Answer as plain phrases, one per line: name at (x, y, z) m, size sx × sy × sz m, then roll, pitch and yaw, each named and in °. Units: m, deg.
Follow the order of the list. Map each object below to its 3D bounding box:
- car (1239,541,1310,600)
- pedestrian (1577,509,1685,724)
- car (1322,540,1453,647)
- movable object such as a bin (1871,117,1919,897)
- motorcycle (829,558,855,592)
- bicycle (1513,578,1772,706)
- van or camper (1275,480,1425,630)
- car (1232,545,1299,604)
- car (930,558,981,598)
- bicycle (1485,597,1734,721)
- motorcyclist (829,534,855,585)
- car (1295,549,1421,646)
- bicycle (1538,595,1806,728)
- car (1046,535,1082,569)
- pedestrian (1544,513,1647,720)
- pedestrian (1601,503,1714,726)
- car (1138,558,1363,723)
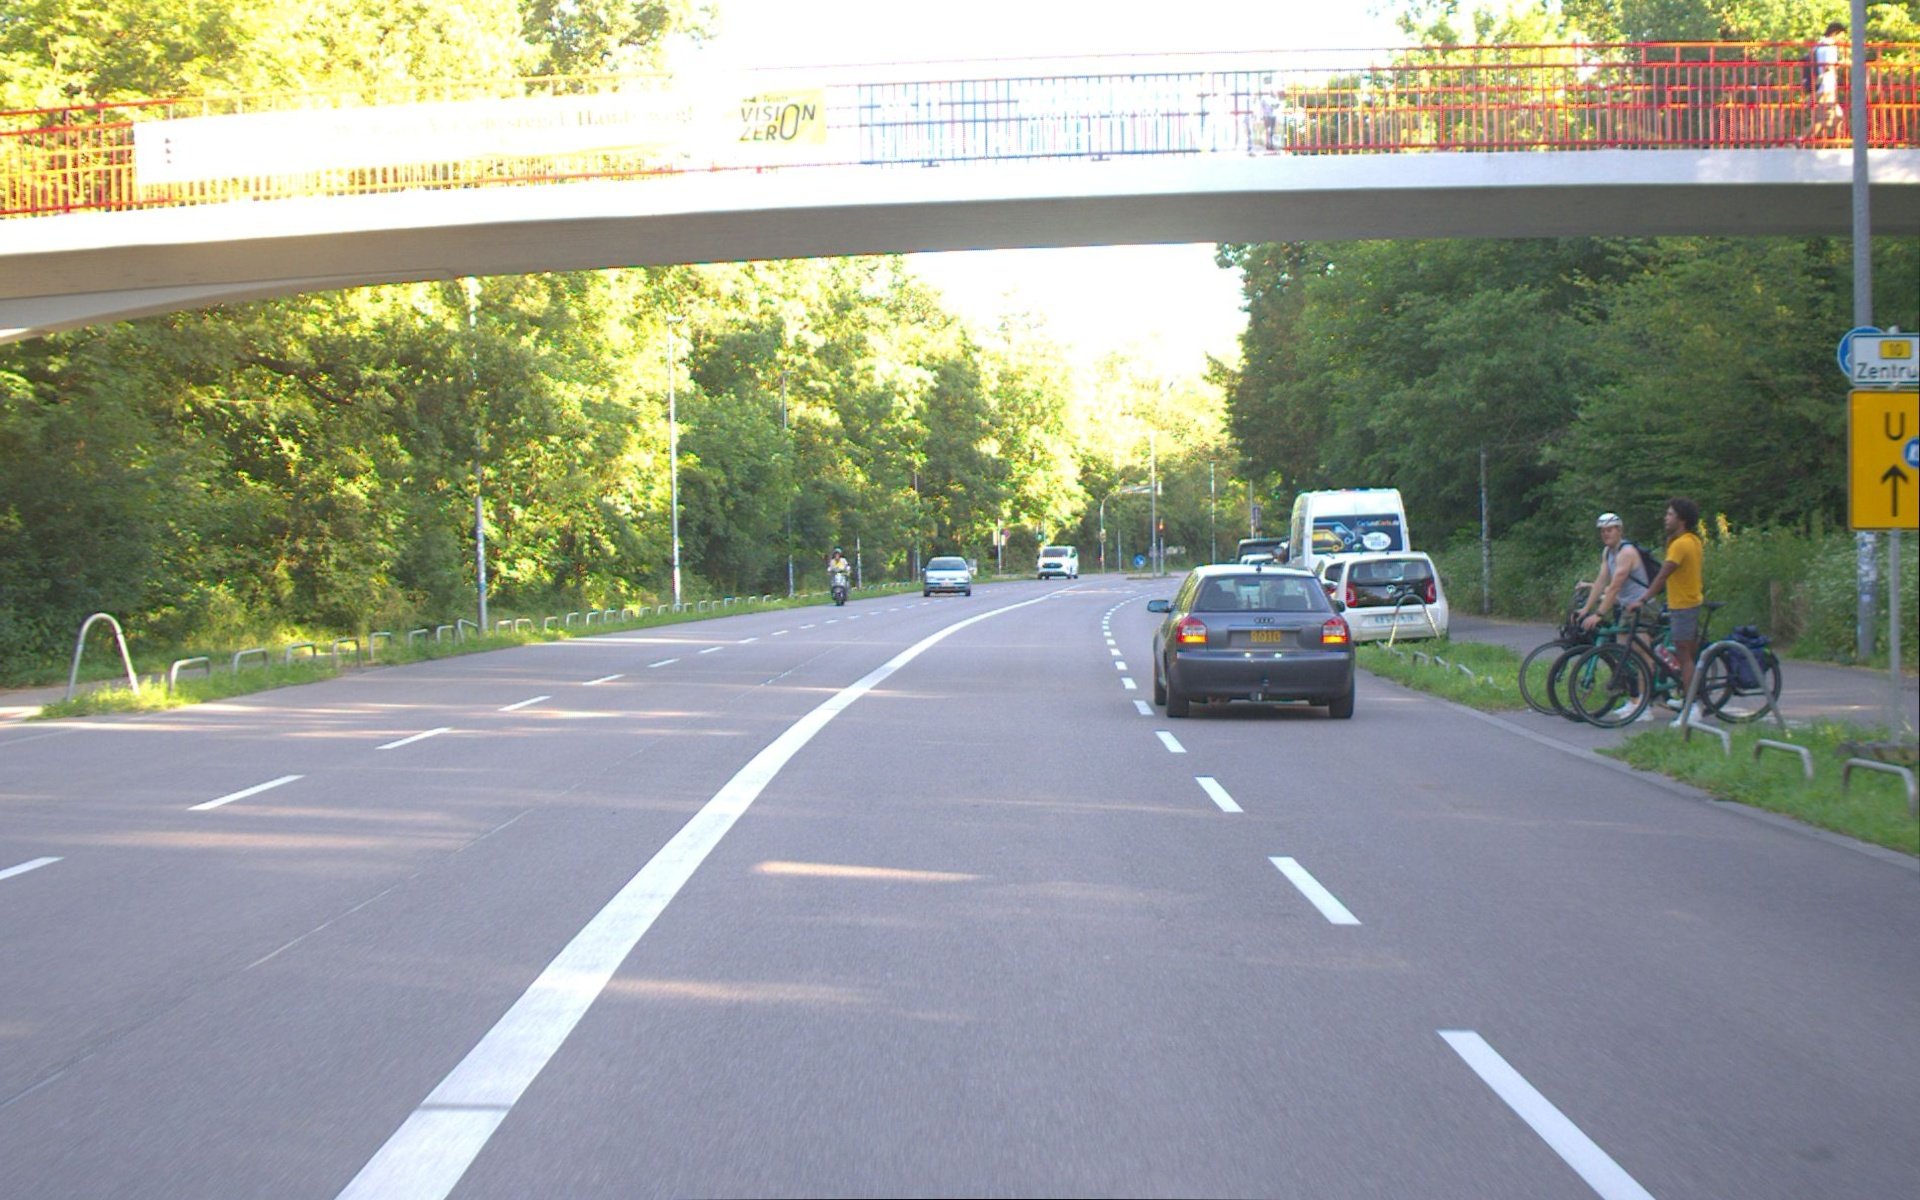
car at (7.926, -0.758, 86.960) m, size 1.728 × 1.436 × 4.100 m, roll 0°, pitch 1°, yaw 4°
pedestrian at (5.872, 0.130, 30.137) m, size 0.699 × 1.846 × 0.939 m, roll -1°, pitch 1°, yaw -3°
car at (6.237, -0.127, 50.463) m, size 1.723 × 1.491 × 3.774 m, roll 0°, pitch 1°, yaw 5°
movable object such as a bin at (5.720, -0.351, 11.708) m, size 2.758 × 3.359 × 7.602 m, roll -1°, pitch 1°, yaw -4°
motorcycle at (-3.494, -0.746, 101.674) m, size 0.636 × 0.992 × 2.077 m, roll 0°, pitch 1°, yaw 2°
bicycle at (5.965, 0.358, 30.107) m, size 2.061 × 1.064 × 0.870 m, roll -1°, pitch 1°, yaw -3°
van or camper at (6.930, -0.826, 61.633) m, size 2.119 × 2.509 × 5.980 m, roll -1°, pitch 1°, yaw 2°
car at (8.162, -0.708, 92.103) m, size 1.728 × 1.538 × 4.217 m, roll 0°, pitch 1°, yaw 4°
car at (-0.148, -0.813, 124.994) m, size 1.681 × 1.402 × 3.889 m, roll -1°, pitch 1°, yaw 2°
bicycle at (5.889, 0.530, 31.254) m, size 2.061 × 1.064 × 0.870 m, roll -1°, pitch 1°, yaw -3°
motorcyclist at (-3.486, -1.189, 101.661) m, size 0.724 × 1.500 × 0.672 m, roll -1°, pitch 0°, yaw 2°
car at (6.375, -0.071, 55.361) m, size 1.723 × 1.491 × 4.145 m, roll 0°, pitch 1°, yaw 3°
bicycle at (6.021, 0.515, 29.152) m, size 2.061 × 1.064 × 0.870 m, roll -1°, pitch 1°, yaw -3°
car at (6.228, -2.885, 204.998) m, size 1.994 × 1.985 × 4.997 m, roll 0°, pitch 1°, yaw 3°
pedestrian at (5.770, 0.142, 31.250) m, size 0.699 × 1.846 × 0.939 m, roll -1°, pitch 1°, yaw -3°
pedestrian at (5.908, 0.113, 29.155) m, size 0.699 × 1.846 × 0.939 m, roll -1°, pitch 1°, yaw -3°
car at (2.671, 0.335, 32.404) m, size 1.727 × 1.436 × 4.090 m, roll 0°, pitch 1°, yaw -1°
